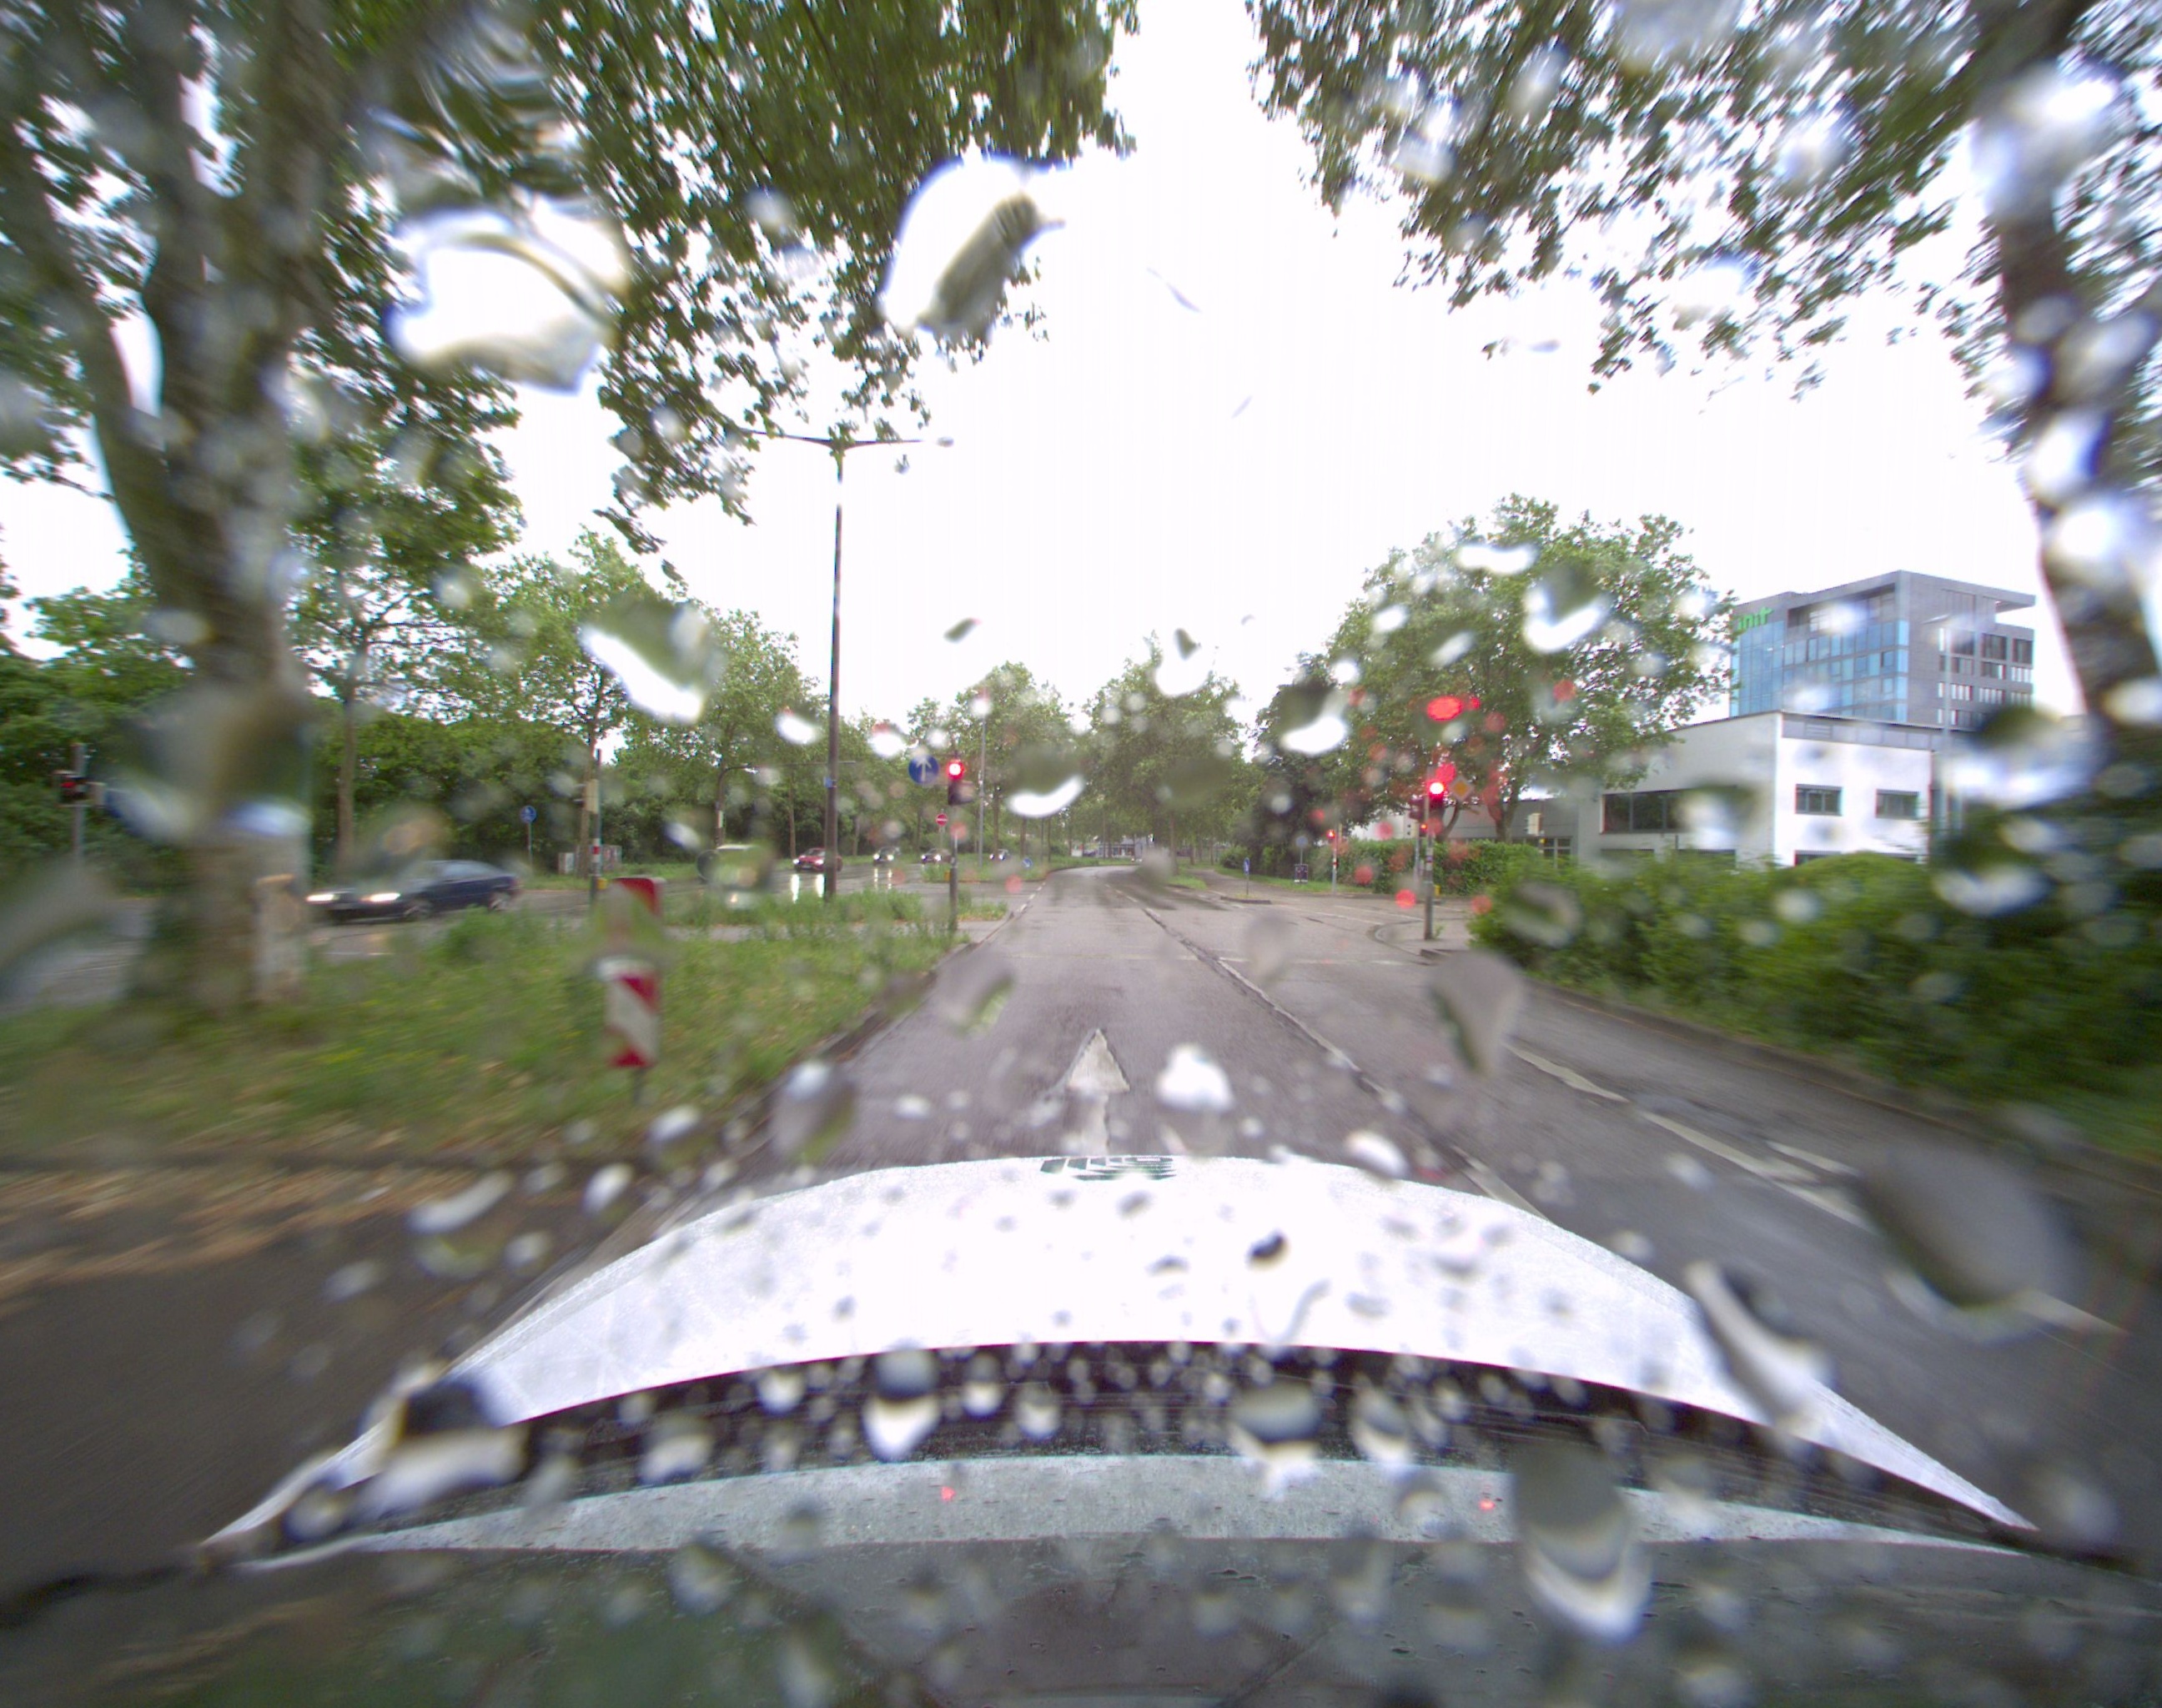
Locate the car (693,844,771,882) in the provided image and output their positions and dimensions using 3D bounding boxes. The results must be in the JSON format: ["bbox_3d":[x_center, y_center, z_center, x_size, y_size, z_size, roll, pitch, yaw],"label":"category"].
[{"bbox_3d":[-15.785,0.388,37.099,1.739,1.631,4.441,1,0,-2],"label":"car"}]

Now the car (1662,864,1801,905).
[{"bbox_3d":[26.909,1.247,33.802,4.277,1.590,1.888,1,0,0],"label":"car"}]

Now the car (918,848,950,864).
[{"bbox_3d":[-13.414,0.162,74.560,1.578,1.373,4.272,1,0,8],"label":"car"}]

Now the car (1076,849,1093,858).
[{"bbox_3d":[0.826,-0.011,194.969,3.985,2.014,1.994,1,-1,-9],"label":"car"}]

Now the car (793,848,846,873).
[{"bbox_3d":[-15.675,0.382,49.070,1.738,1.408,4.444,1,0,0],"label":"car"}]

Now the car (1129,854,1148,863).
[{"bbox_3d":[9.686,0.787,137.770,1.987,1.452,5.015,1,0,19],"label":"car"}]

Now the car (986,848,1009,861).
[{"bbox_3d":[-9.564,0.066,93.847,1.577,1.373,4.273,1,0,10],"label":"car"}]

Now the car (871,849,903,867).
[{"bbox_3d":[-15.158,0.283,63.628,1.581,1.373,3.335,1,0,2],"label":"car"}]

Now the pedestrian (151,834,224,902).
[{"bbox_3d":[-22.481,0.352,20.506,0.828,1.674,0.899,0,0,-1],"label":"pedestrian"}]

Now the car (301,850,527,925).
[{"bbox_3d":[-15.392,0.689,19.181,1.738,1.438,4.442,1,2,-2],"label":"car"}]
